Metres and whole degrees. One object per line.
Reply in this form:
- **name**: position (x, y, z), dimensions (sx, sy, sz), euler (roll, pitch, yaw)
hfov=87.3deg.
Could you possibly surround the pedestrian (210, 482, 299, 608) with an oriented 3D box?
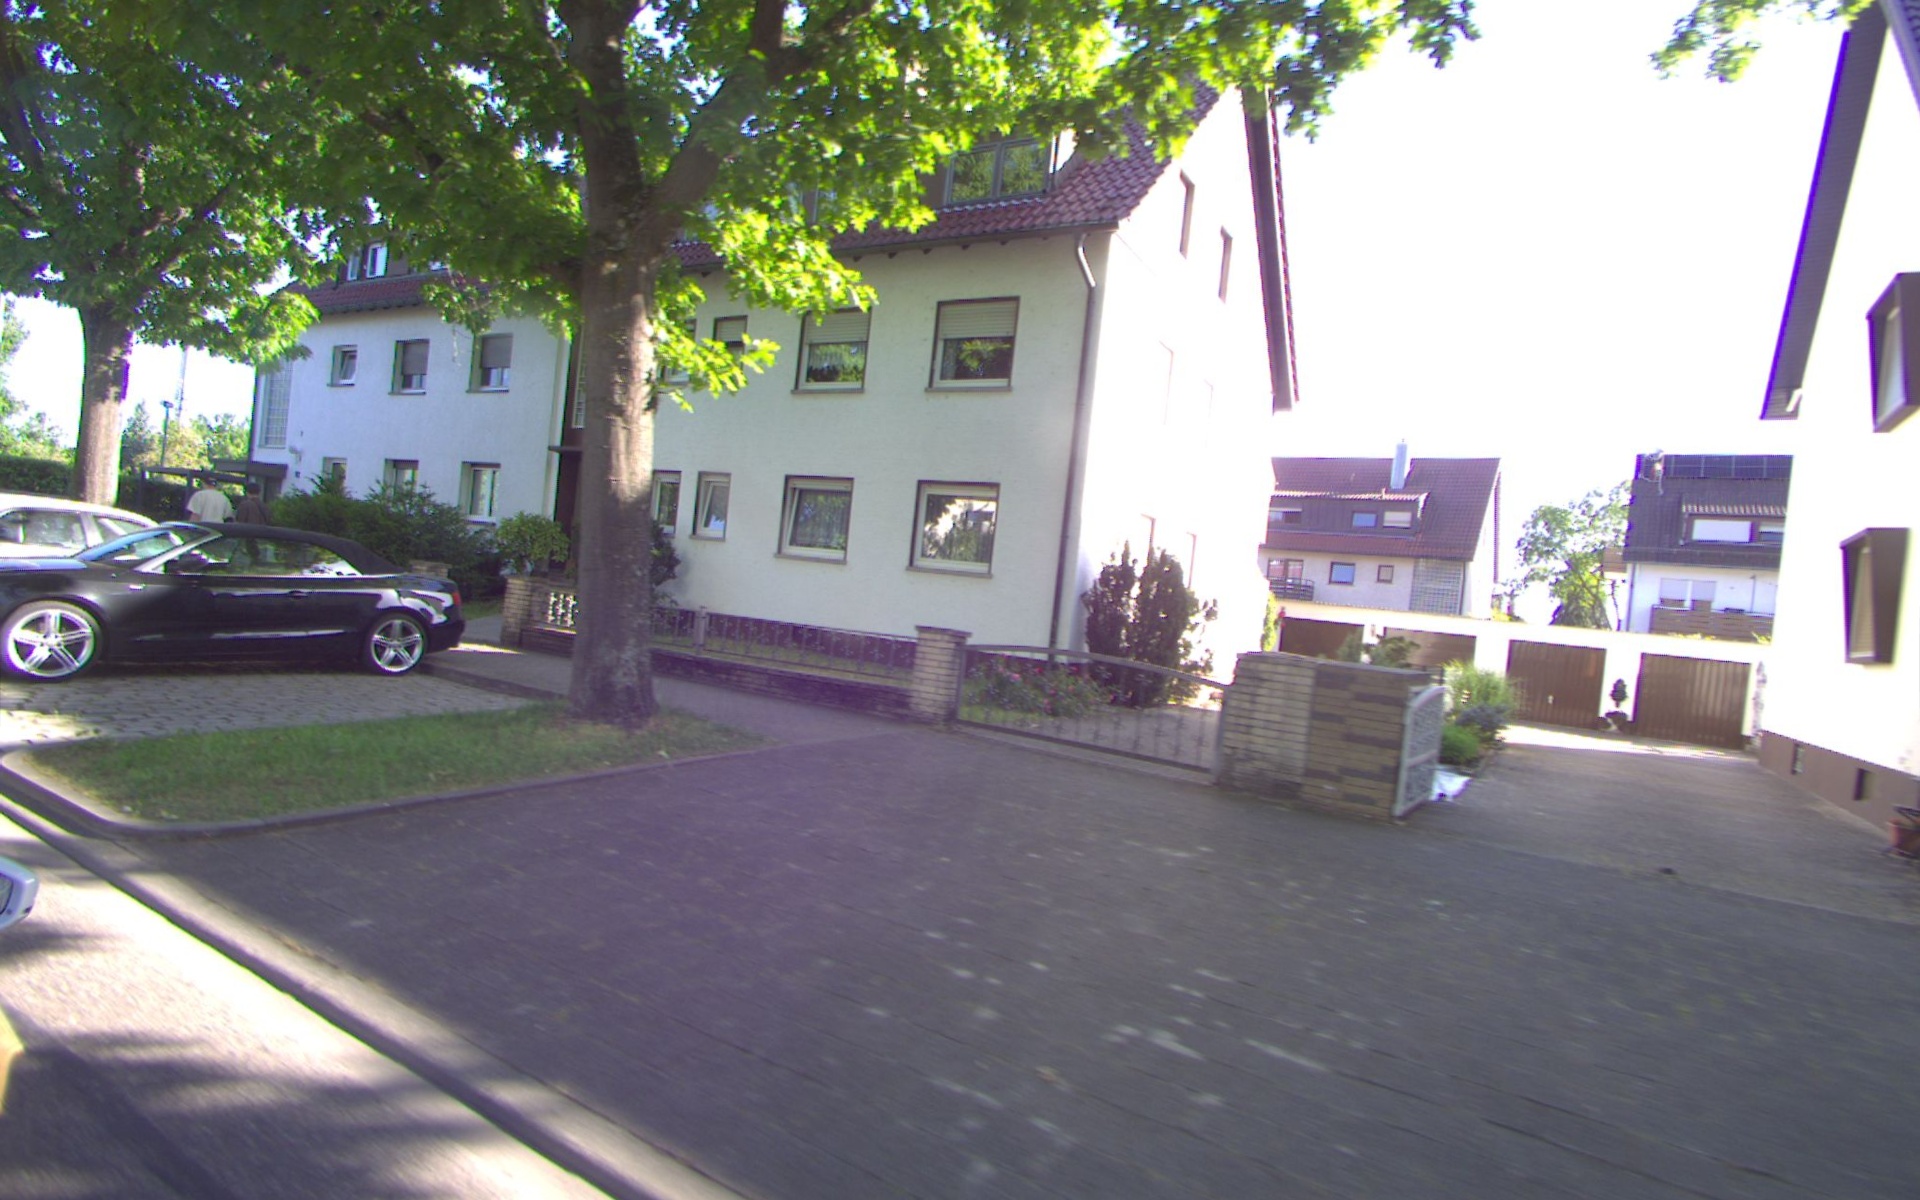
- **pedestrian**: position (-11.055, -0.856, 15.779), dimensions (0.699, 1.851, 0.835), euler (6, 1, 34)

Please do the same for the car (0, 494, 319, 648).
- **car**: position (-9.628, -0.341, 10.750), dimensions (1.767, 1.432, 4.279), euler (7, 1, 32)

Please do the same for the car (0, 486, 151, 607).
- **car**: position (-13.732, -0.855, 13.342), dimensions (1.767, 1.522, 4.279), euler (7, 1, 32)

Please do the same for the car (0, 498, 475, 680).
- **car**: position (-7.207, -0.072, 9.519), dimensions (1.842, 1.380, 4.349), euler (6, 0, 32)

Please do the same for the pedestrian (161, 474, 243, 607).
- **pedestrian**: position (-11.429, -0.900, 15.169), dimensions (0.909, 1.897, 0.608), euler (6, 1, 34)

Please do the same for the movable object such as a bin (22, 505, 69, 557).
- **movable object such as a bin**: position (-20.497, -1.548, 22.555), dimensions (0.688, 1.058, 0.535), euler (7, 1, 30)

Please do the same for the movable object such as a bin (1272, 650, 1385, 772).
- **movable object such as a bin**: position (3.816, 1.123, 10.412), dimensions (0.891, 1.112, 0.703), euler (6, 0, 31)

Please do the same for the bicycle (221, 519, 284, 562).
- **bicycle**: position (-20.191, -1.689, 28.738), dimensions (0.522, 1.067, 1.673), euler (6, 1, 0)
